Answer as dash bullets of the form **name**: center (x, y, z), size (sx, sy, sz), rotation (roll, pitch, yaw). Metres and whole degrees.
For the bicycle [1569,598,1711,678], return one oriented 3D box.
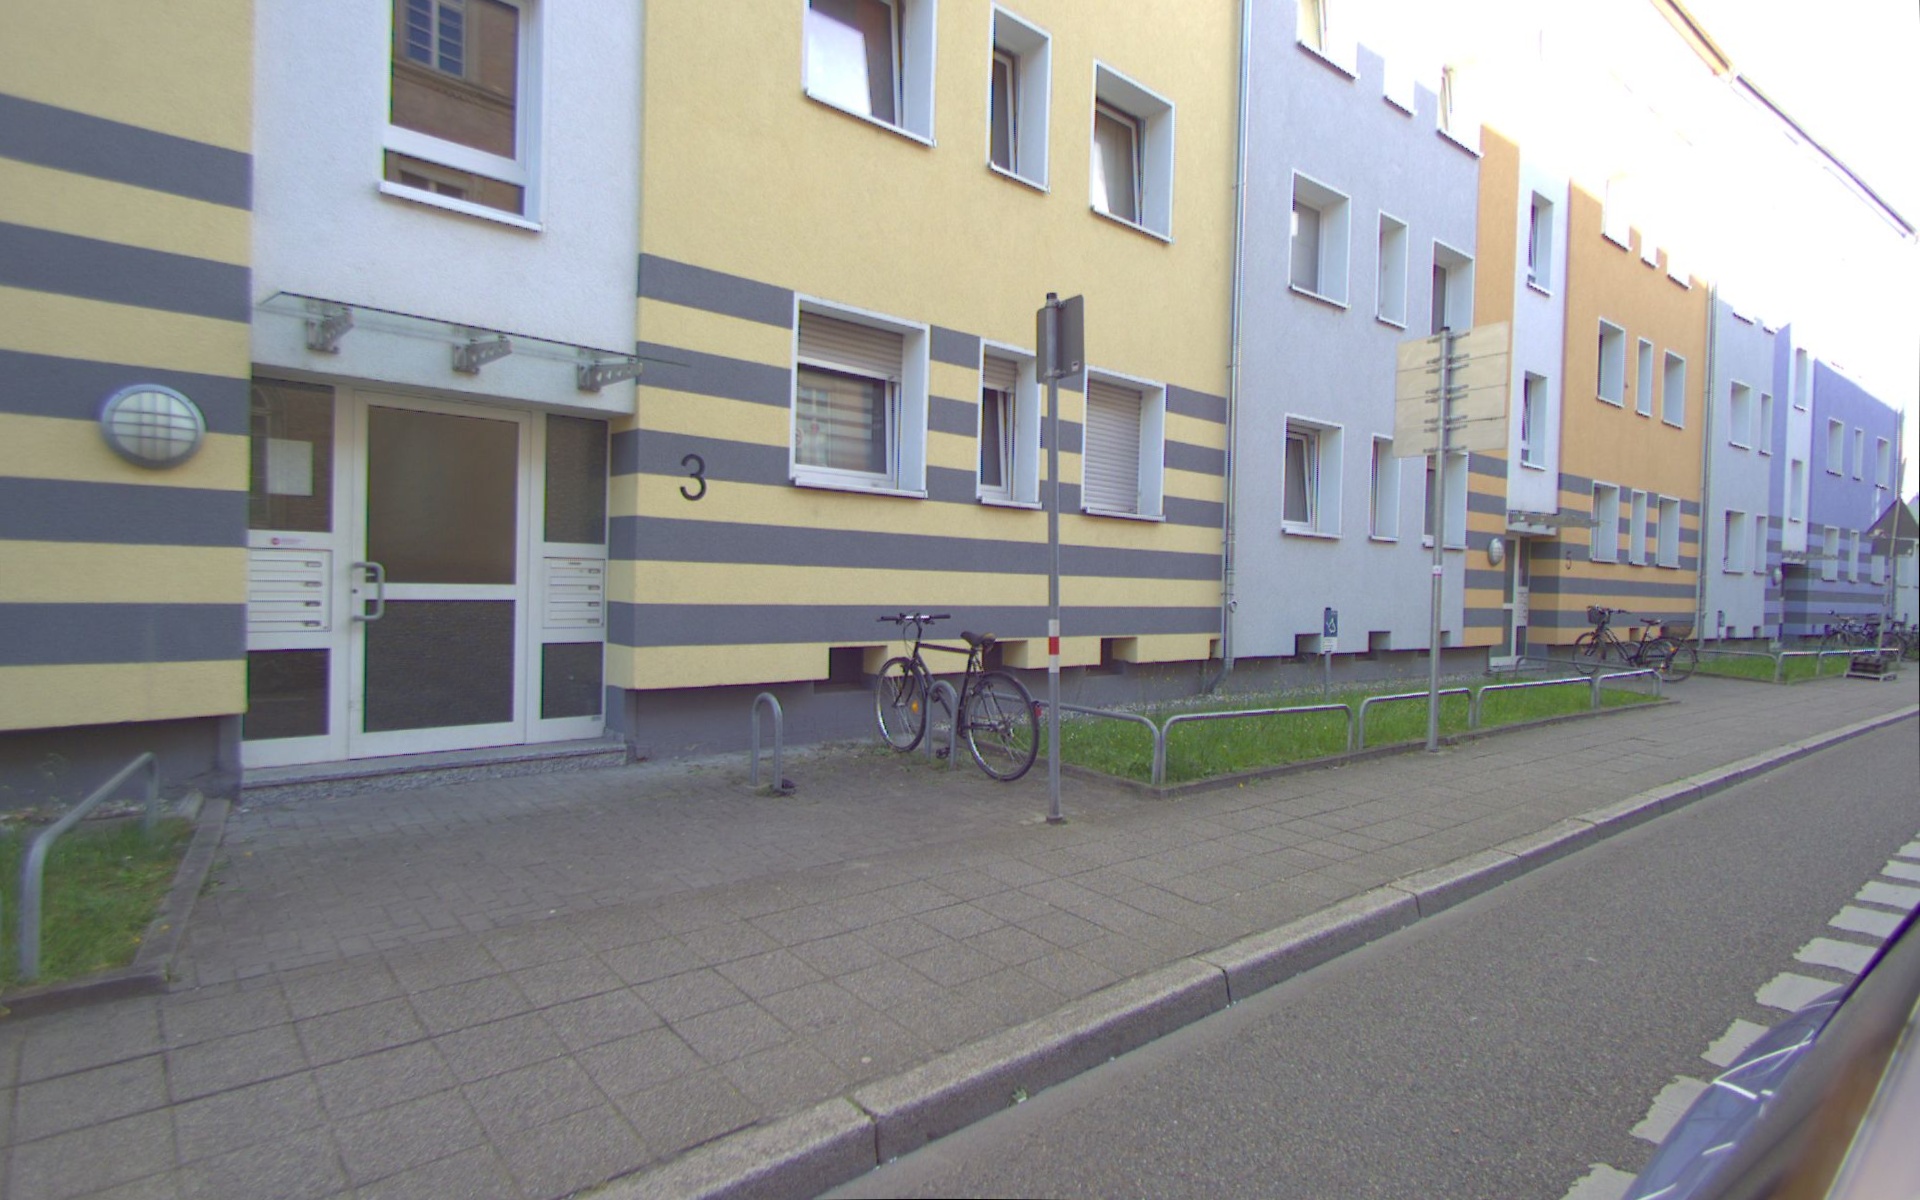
- **bicycle**: center (10.682, 0.563, 15.949), size (1.775, 1.137, 0.476), rotation (3, 1, 44)

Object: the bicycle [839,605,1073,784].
- **bicycle**: center (-0.079, 0.587, 7.019), size (1.775, 1.031, 0.476), rotation (3, 1, 44)

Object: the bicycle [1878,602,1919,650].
- **bicycle**: center (24.129, 0.659, 25.282), size (0.475, 1.166, 1.678), rotation (1, 1, -37)

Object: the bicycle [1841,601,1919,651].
- **bicycle**: center (23.301, 0.647, 25.425), size (0.475, 1.166, 1.678), rotation (1, 1, -37)

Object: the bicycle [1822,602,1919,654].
- **bicycle**: center (22.220, 0.664, 24.732), size (0.475, 1.166, 1.678), rotation (1, 1, -37)
